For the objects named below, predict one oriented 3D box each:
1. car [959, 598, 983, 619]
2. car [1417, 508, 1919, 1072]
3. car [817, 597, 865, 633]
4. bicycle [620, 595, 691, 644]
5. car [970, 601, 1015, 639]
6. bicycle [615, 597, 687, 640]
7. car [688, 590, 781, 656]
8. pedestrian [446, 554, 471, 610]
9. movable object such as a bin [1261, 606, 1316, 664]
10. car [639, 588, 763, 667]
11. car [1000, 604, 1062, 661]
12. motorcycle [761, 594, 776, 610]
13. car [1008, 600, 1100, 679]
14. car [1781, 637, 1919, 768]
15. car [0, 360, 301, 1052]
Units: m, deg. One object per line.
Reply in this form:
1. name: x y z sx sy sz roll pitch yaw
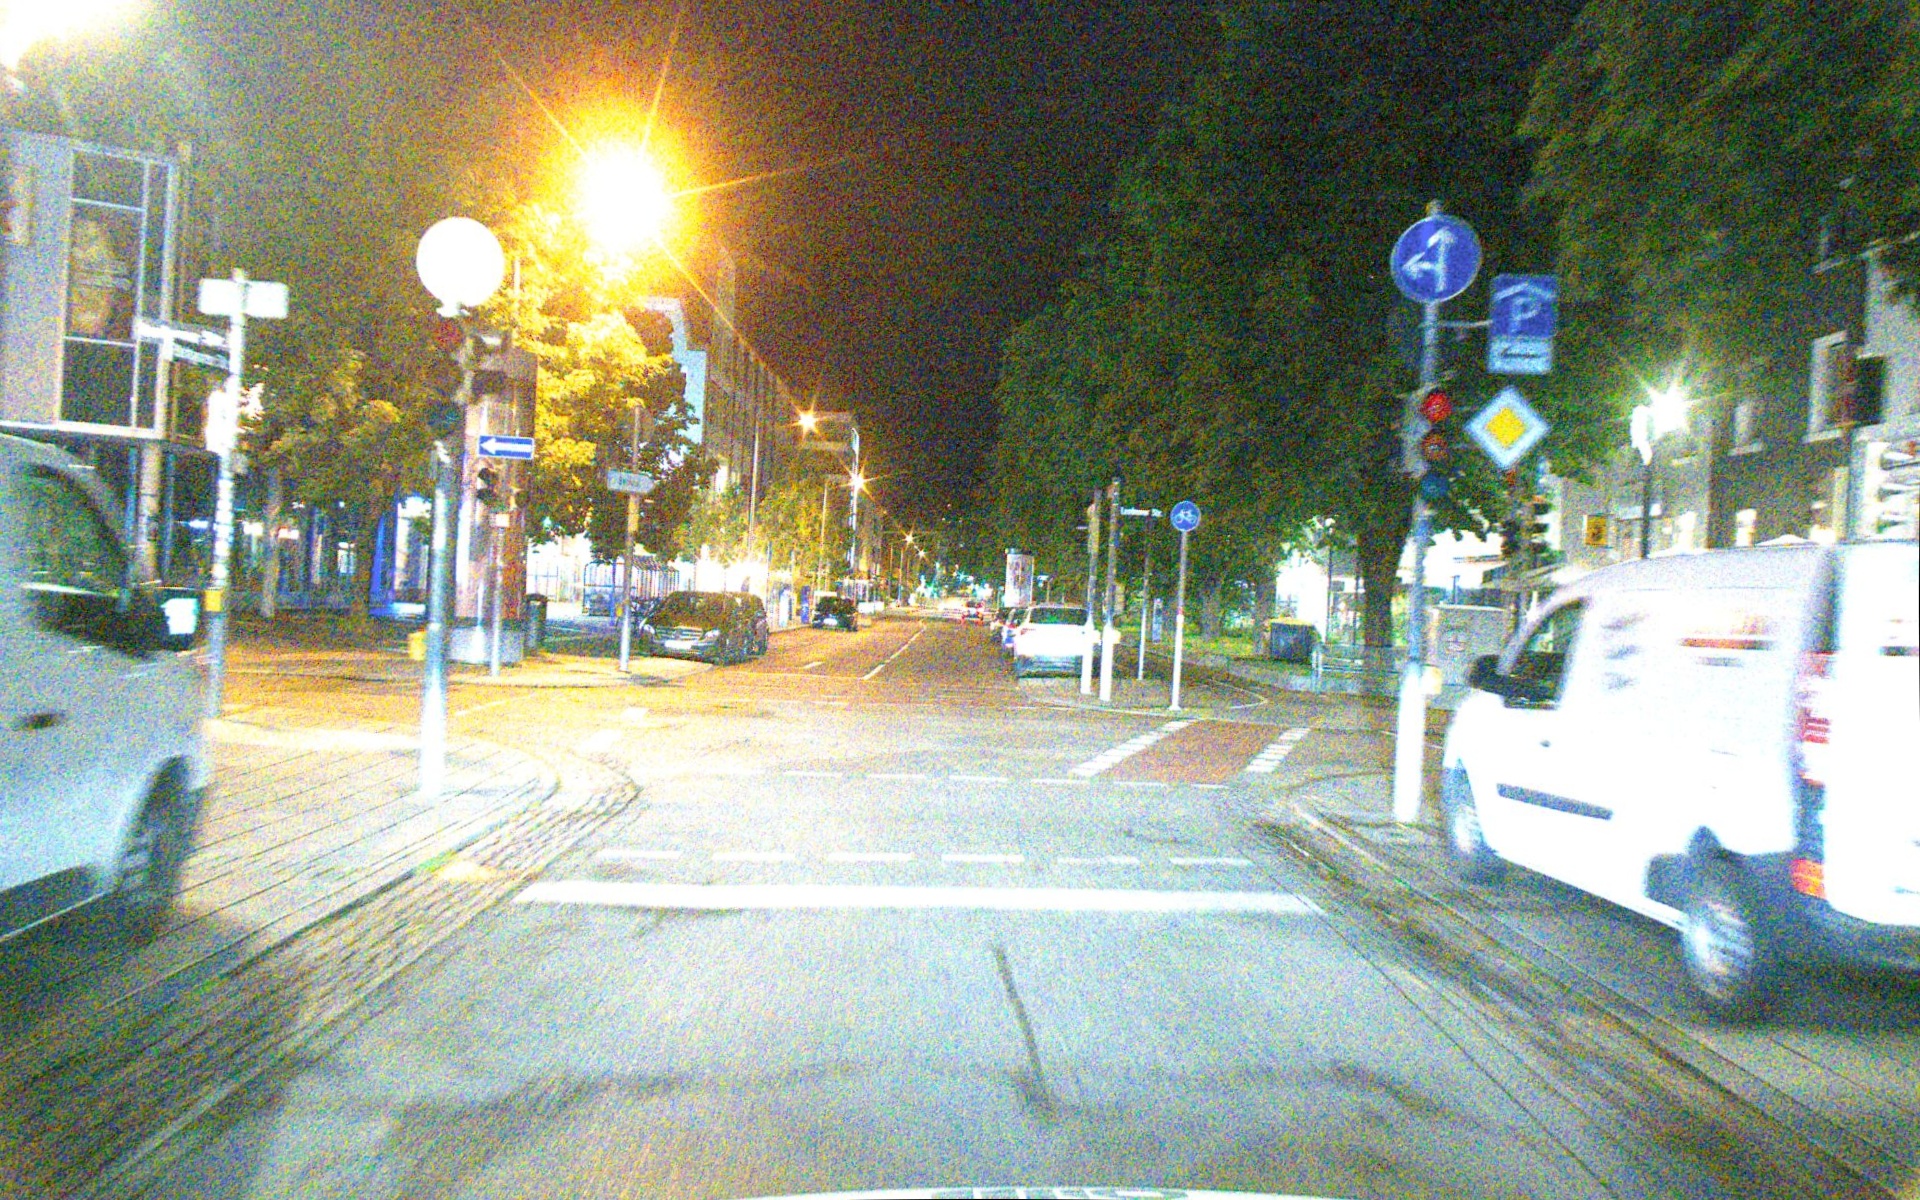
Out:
1. car: 0.886 0.699 136.641 1.953 1.672 4.000 2 0 0
2. car: 3.719 0.653 7.778 1.752 1.854 4.579 2 0 -1
3. car: -5.258 0.633 73.584 1.706 1.438 4.496 4 0 1
4. bicycle: -8.461 0.548 45.989 1.813 1.275 0.532 3 0 -1
5. car: 1.330 0.800 67.833 1.728 1.439 4.808 2 0 1
6. bicycle: -8.472 0.502 45.388 1.813 1.053 0.532 4 0 -1
7. car: -5.653 0.557 41.848 1.687 1.453 3.976 5 0 0
8. pedestrian: -15.226 -0.539 50.242 0.468 1.665 0.632 3 0 1
9. movable object such as a bin: 8.438 0.887 42.484 1.137 1.395 0.993 3 0 -2
10. car: -5.514 0.557 35.782 1.770 1.449 4.921 5 0 0
11. car: 2.059 0.927 48.924 1.655 1.563 4.016 2 0 1
12. motorcycle: -12.733 0.117 109.899 0.468 1.038 1.676 3 0 10
13. car: 1.951 0.792 35.350 1.734 1.563 4.216 1 0 1
14. car: 13.005 1.336 21.025 4.228 1.558 1.803 2 -1 -1
15. car: -3.811 0.277 5.024 1.817 2.123 5.085 5 0 -5
